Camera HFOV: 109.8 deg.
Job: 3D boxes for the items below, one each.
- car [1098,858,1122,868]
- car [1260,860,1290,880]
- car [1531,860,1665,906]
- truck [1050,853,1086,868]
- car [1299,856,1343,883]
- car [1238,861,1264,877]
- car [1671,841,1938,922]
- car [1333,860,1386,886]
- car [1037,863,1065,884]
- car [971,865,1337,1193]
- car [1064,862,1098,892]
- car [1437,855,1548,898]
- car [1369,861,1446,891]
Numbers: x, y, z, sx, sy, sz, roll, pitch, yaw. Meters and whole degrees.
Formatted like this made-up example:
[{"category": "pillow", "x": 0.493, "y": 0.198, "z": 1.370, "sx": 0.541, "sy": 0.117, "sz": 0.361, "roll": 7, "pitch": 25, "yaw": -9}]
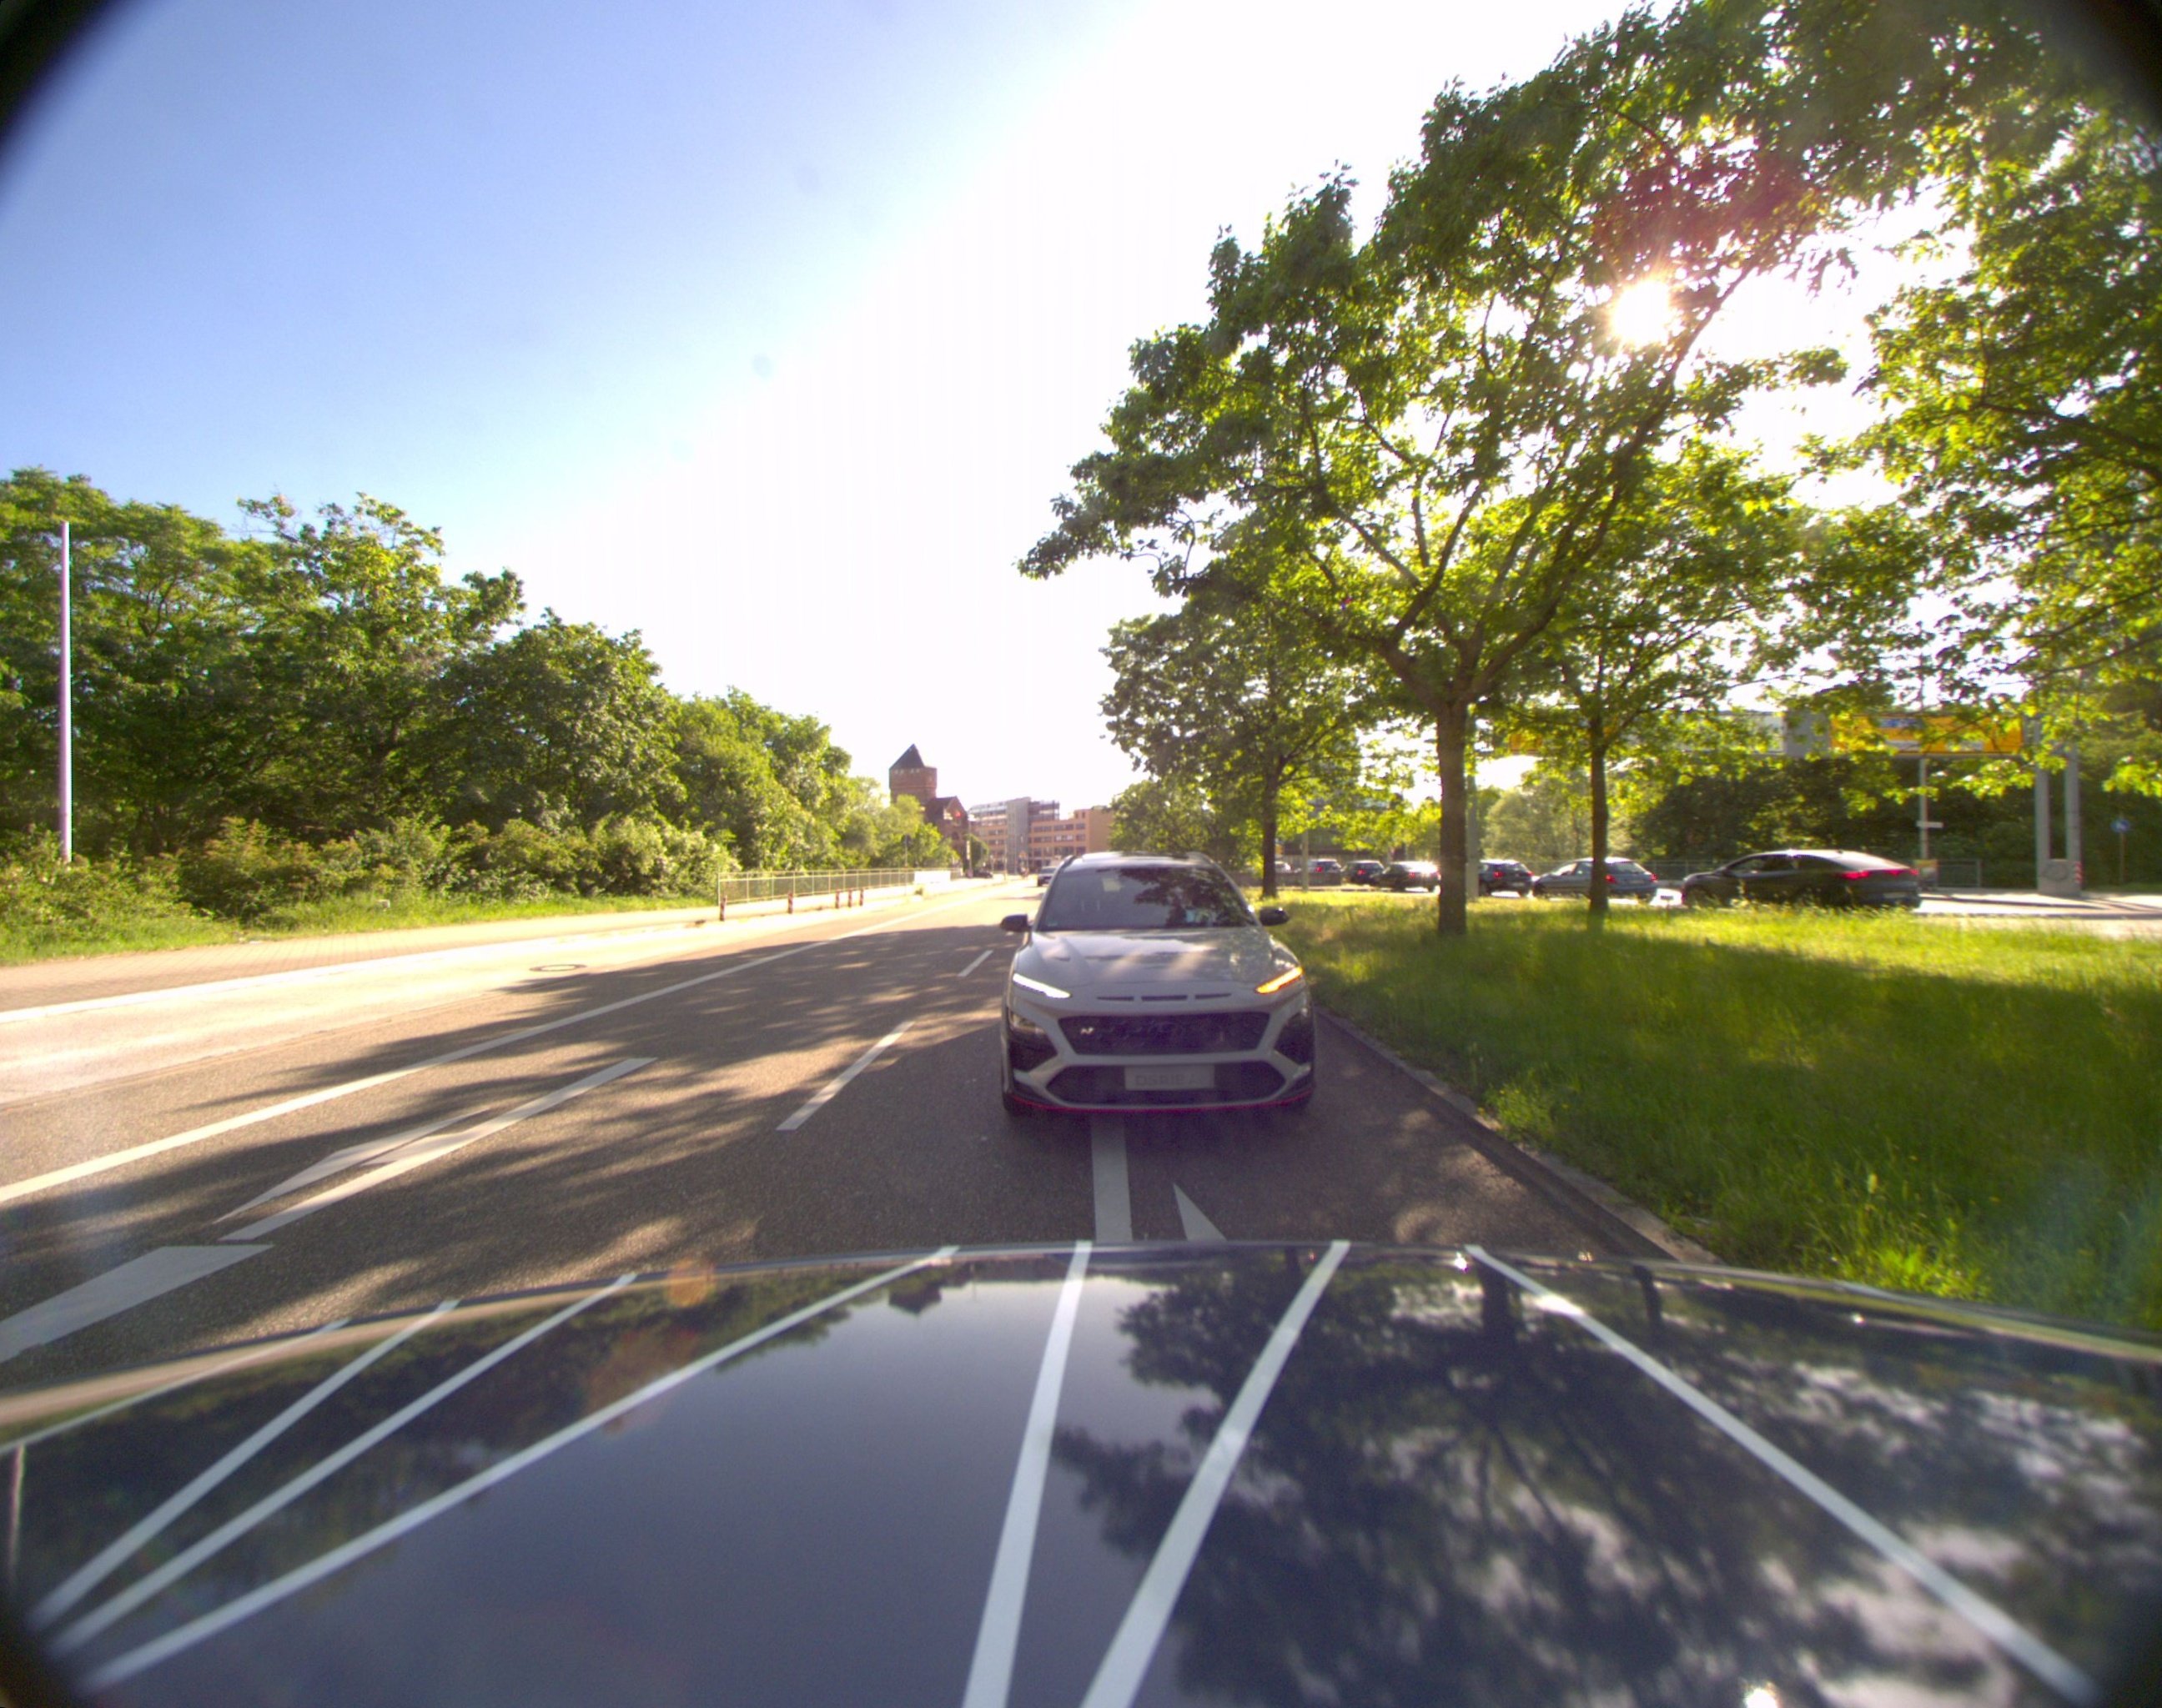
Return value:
[{"category": "car", "x": 6.140, "y": 1.859, "z": 161.538, "sx": 2.177, "sy": 2.001, "sz": 5.400, "roll": -1, "pitch": 0, "yaw": -39}, {"category": "car", "x": 14.315, "y": 1.207, "z": 56.130, "sx": 1.228, "sy": 1.331, "sz": 2.882, "roll": -1, "pitch": -3, "yaw": -6}, {"category": "car", "x": 16.380, "y": 0.881, "z": 24.285, "sx": 1.561, "sy": 1.355, "sz": 3.608, "roll": -1, "pitch": -1, "yaw": -6}, {"category": "truck", "x": -3.080, "y": 1.554, "z": 176.529, "sx": 3.535, "sy": 3.231, "sz": 9.140, "roll": -1, "pitch": 0, "yaw": -38}, {"category": "car", "x": 14.967, "y": 0.991, "z": 47.524, "sx": 1.450, "sy": 1.549, "sz": 3.202, "roll": -1, "pitch": -2, "yaw": -6}, {"category": "car", "x": 13.938, "y": 1.281, "z": 62.327, "sx": 1.199, "sy": 1.252, "sz": 2.768, "roll": -1, "pitch": -2, "yaw": -6}, {"category": "car", "x": 16.709, "y": 0.575, "z": 17.934, "sx": 1.832, "sy": 1.638, "sz": 4.458, "roll": -1, "pitch": 0, "yaw": -5}, {"category": "car", "x": 15.146, "y": 1.032, "z": 41.478, "sx": 1.481, "sy": 1.331, "sz": 3.202, "roll": -1, "pitch": -1, "yaw": -6}, {"category": "car", "x": -2.137, "y": 1.401, "z": 55.570, "sx": 1.776, "sy": 1.395, "sz": 4.318, "roll": -1, "pitch": 0, "yaw": 1}, {"category": "car", "x": 0.383, "y": 0.882, "z": 5.680, "sx": 1.752, "sy": 1.523, "sz": 3.988, "roll": -1, "pitch": 0, "yaw": 1}, {"category": "car", "x": 0.028, "y": 1.216, "z": 40.857, "sx": 1.677, "sy": 1.463, "sz": 4.151, "roll": -1, "pitch": 0, "yaw": 1}, {"category": "car", "x": 16.182, "y": 0.849, "z": 30.149, "sx": 1.875, "sy": 1.541, "sz": 4.221, "roll": -1, "pitch": 0, "yaw": -4}, {"category": "car", "x": 15.470, "y": 0.997, "z": 36.222, "sx": 1.623, "sy": 1.305, "sz": 4.066, "roll": -1, "pitch": 0, "yaw": -6}]
